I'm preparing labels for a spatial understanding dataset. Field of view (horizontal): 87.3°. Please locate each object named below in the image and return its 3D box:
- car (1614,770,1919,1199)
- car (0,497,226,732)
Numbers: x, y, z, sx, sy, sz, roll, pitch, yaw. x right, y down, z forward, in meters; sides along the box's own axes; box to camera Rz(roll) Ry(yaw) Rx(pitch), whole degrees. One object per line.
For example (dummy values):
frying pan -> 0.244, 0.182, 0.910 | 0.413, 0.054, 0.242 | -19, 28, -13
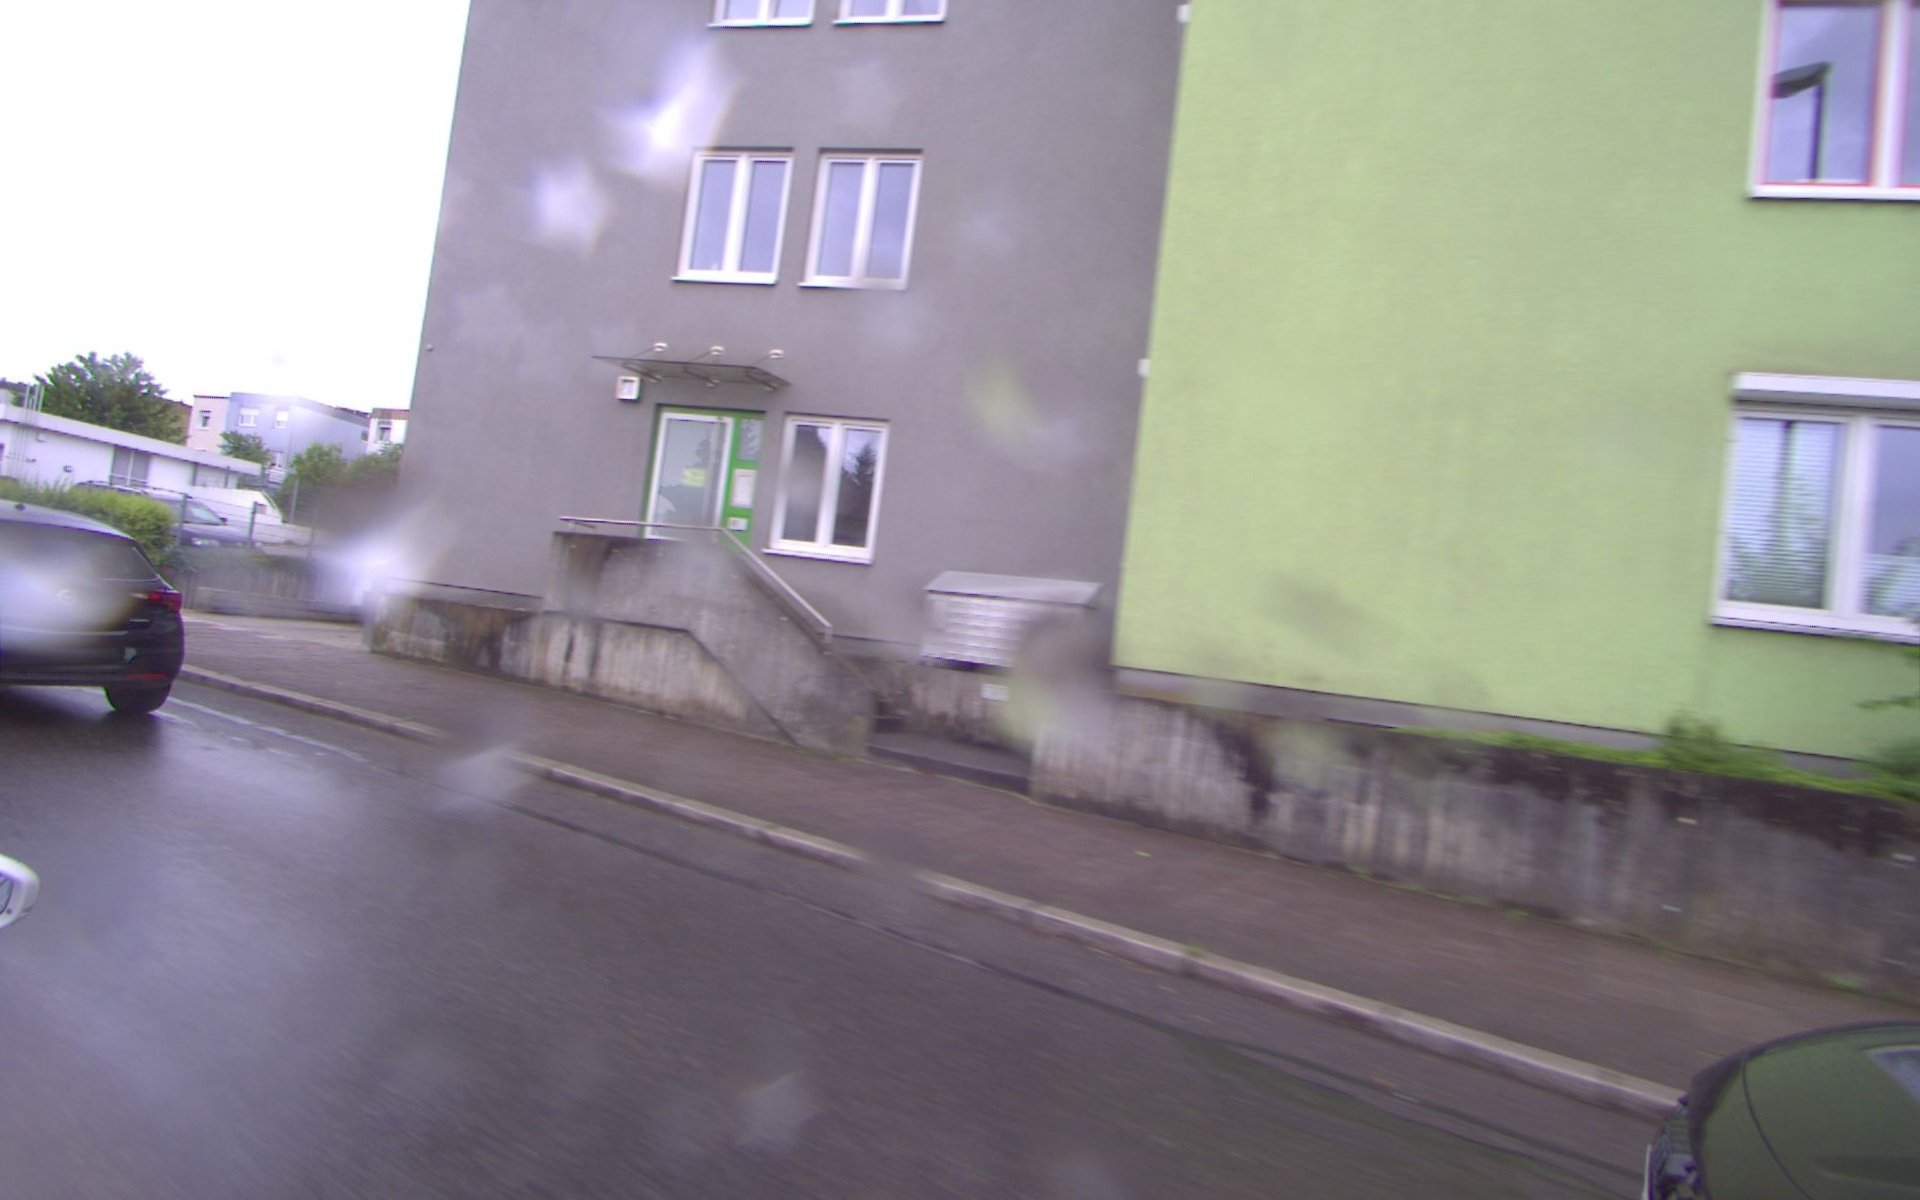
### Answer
car -> 3.230, 1.208, 0.663 | 4.665, 1.440, 1.869 | 4, -4, 35
car -> -7.611, -0.071, 7.464 | 3.929, 1.465, 1.763 | 7, -3, 27
